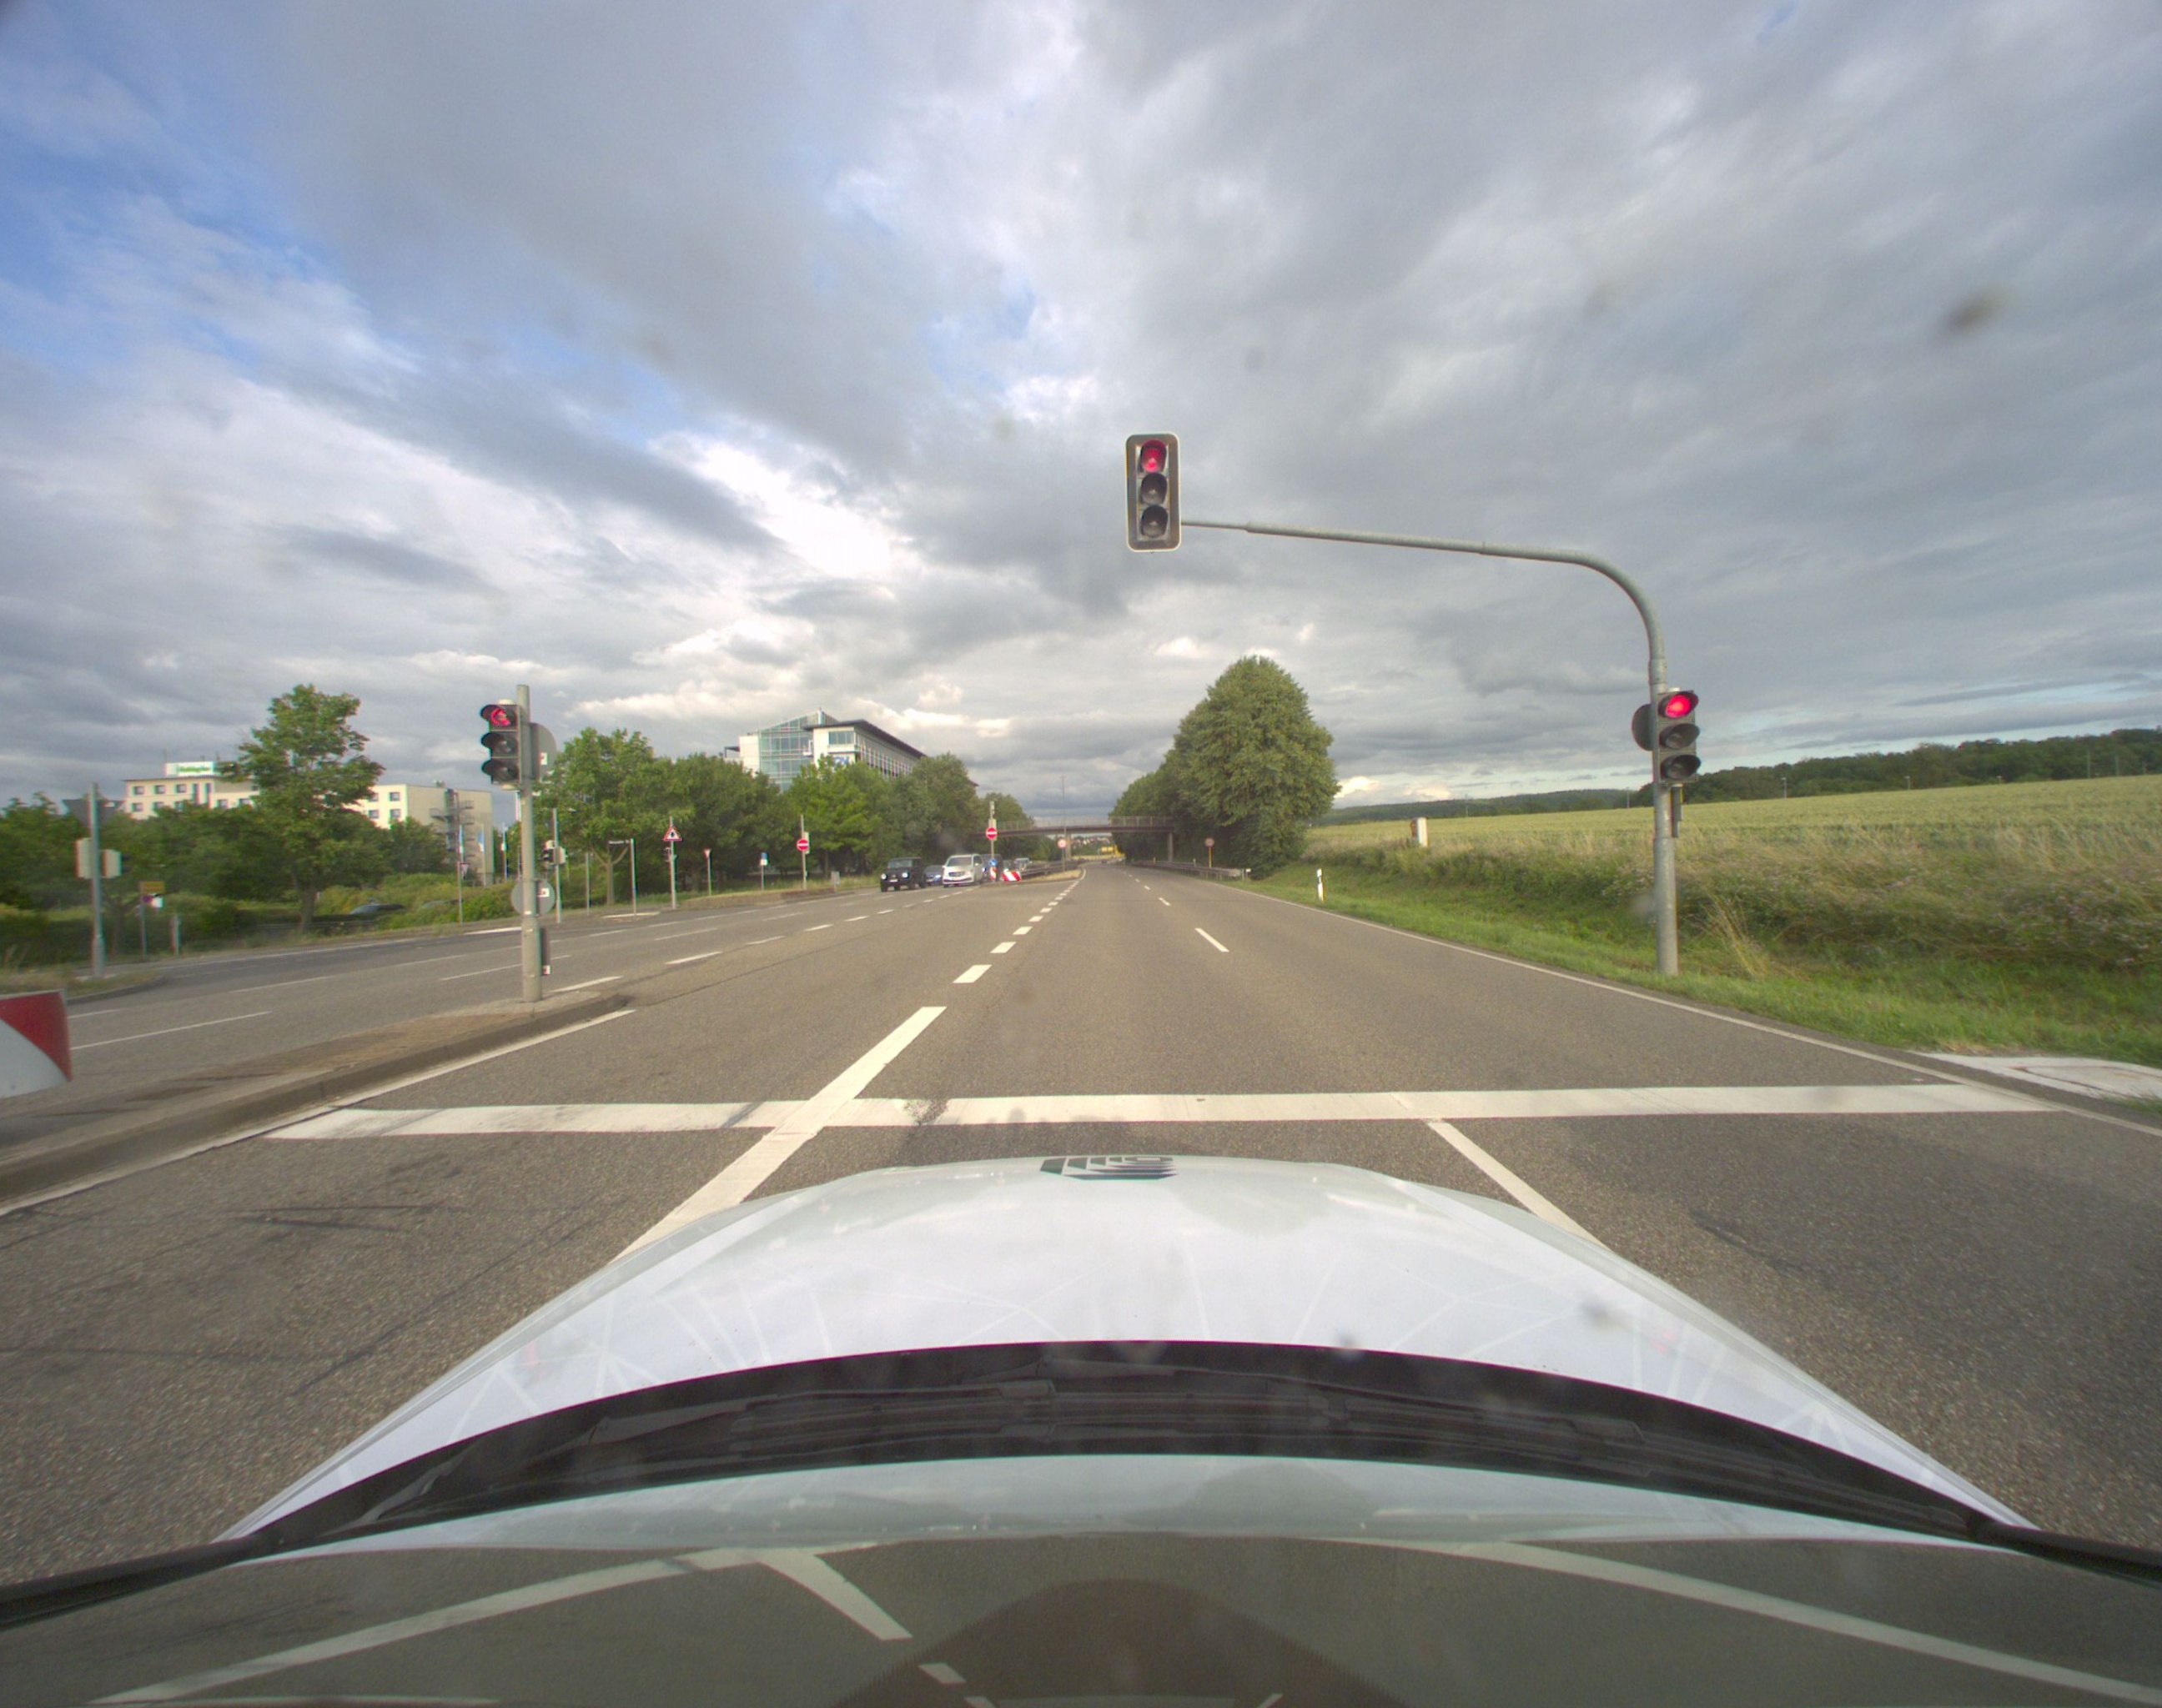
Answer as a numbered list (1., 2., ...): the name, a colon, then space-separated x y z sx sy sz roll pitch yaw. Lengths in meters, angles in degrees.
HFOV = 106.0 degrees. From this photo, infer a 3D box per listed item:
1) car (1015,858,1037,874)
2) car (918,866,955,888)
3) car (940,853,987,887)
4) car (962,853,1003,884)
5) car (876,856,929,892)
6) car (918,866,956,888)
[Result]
1. car: -5.729 1.251 85.505 1.816 1.584 4.791 -2 0 1
2. car: -10.003 1.565 56.716 1.715 1.240 4.001 -5 0 1
3. car: -7.125 0.946 49.947 1.927 1.872 5.348 -3 -1 1
4. car: -6.871 0.992 57.391 1.891 1.916 5.053 -5 -1 2
5. car: -10.832 1.192 49.886 1.927 1.990 5.092 -3 -1 1
6. car: -9.959 1.595 56.688 1.641 1.388 4.188 -3 -1 2
